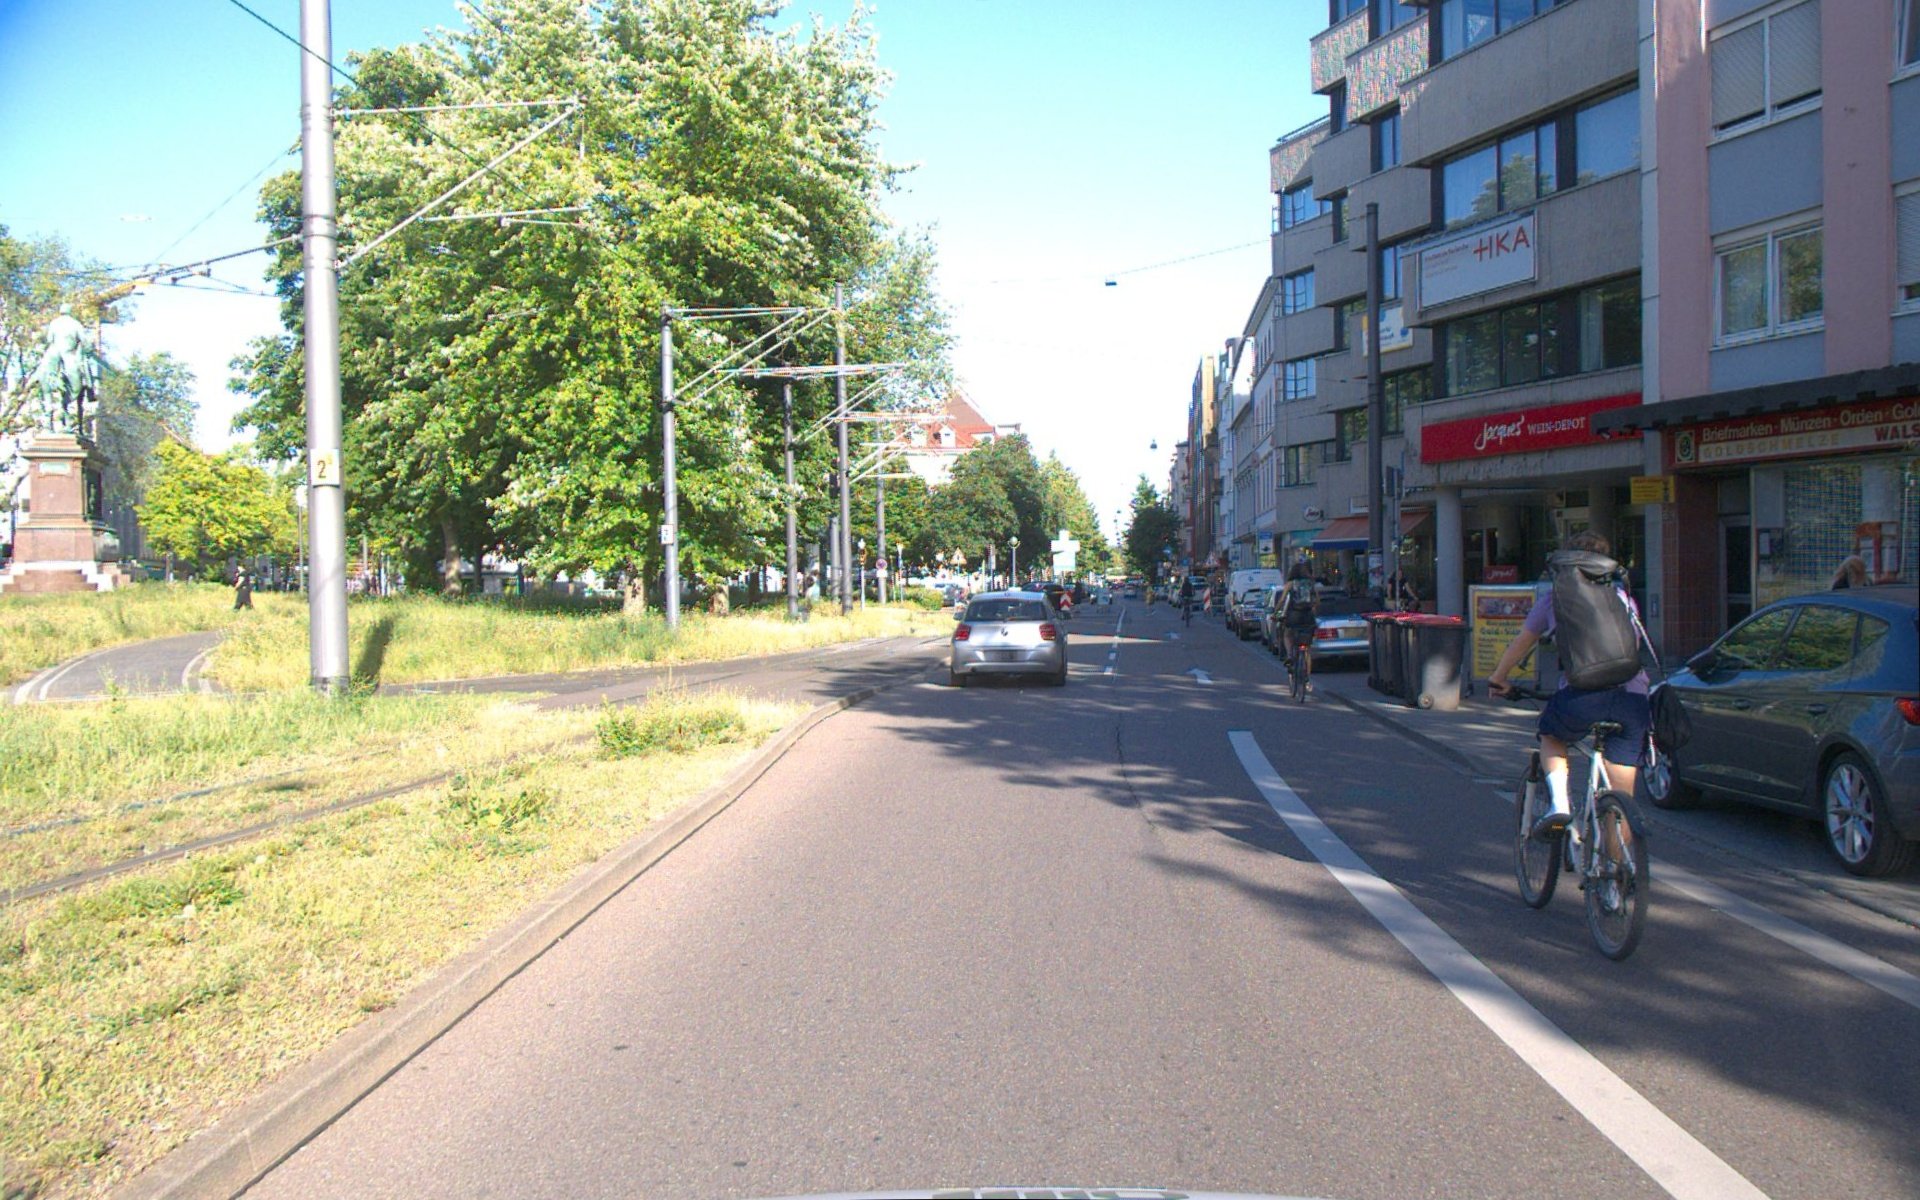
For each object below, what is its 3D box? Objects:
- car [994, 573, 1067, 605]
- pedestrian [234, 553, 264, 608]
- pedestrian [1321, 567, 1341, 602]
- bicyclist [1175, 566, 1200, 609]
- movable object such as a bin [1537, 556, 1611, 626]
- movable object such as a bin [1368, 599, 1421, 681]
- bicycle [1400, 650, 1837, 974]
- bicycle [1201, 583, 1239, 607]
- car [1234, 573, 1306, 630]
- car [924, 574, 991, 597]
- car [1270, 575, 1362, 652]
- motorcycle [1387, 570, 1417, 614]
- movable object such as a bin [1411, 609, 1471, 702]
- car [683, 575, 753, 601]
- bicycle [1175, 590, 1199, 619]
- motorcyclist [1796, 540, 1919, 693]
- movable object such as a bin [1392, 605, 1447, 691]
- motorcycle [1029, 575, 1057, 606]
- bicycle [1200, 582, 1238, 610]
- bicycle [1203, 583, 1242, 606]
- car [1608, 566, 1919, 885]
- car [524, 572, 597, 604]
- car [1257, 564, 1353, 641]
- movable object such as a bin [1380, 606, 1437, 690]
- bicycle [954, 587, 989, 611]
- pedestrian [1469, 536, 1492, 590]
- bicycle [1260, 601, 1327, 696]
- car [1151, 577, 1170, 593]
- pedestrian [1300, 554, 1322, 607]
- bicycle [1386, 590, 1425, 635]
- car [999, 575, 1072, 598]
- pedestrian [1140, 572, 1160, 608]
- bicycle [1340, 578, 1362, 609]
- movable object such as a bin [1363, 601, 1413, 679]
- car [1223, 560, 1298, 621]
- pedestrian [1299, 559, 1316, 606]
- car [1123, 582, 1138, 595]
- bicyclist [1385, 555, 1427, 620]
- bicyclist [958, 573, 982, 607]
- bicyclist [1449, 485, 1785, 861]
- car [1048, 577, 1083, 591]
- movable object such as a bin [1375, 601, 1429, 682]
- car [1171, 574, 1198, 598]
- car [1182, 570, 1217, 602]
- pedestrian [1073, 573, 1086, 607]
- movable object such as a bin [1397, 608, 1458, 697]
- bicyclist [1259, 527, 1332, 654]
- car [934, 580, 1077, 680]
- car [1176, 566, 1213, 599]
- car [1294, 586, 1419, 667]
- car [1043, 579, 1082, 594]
[{"bbox_3d":[3.905,-0.622,91.239,3.833,1.711,1.786,-1,0,-39],"label":"car"},{"bbox_3d":[-21.260,-0.574,49.450,0.546,1.644,0.670,0,-1,43],"label":"pedestrian"},{"bbox_3d":[13.504,-0.565,60.261,0.616,1.258,0.625,-3,-1,9],"label":"pedestrian"},{"bbox_3d":[7.867,-0.418,57.277,0.769,1.478,1.096,0,0,4],"label":"bicyclist"},{"bbox_3d":[12.735,-0.185,34.355,1.307,1.422,1.122,0,0,13],"label":"movable object such as a bin"},{"bbox_3d":[6.029,0.553,22.967,0.597,1.125,0.526,0,-1,2],"label":"movable object such as a bin"},{"bbox_3d":[2.792,0.831,7.357,0.868,1.156,2.226,1,0,-6],"label":"bicycle"},{"bbox_3d":[11.688,-0.236,74.306,1.645,1.081,0.343,0,-1,22],"label":"bicycle"},{"bbox_3d":[8.504,0.041,45.690,1.736,1.479,4.734,0,0,8],"label":"car"},{"bbox_3d":[-0.228,-1.181,136.966,5.188,1.831,2.150,1,0,-21],"label":"car"},{"bbox_3d":[7.559,0.277,35.416,1.635,1.545,4.202,0,0,8],"label":"car"},{"bbox_3d":[12.588,-0.222,47.047,0.748,1.175,2.049,-3,-1,15],"label":"motorcycle"},{"bbox_3d":[5.775,0.660,19.878,0.561,1.101,0.570,0,-1,2],"label":"movable object such as a bin"},{"bbox_3d":[-19.784,-1.002,135.220,5.495,2.049,1.806,1,0,-21],"label":"car"},{"bbox_3d":[7.844,0.175,57.243,0.639,0.975,2.699,0,0,4],"label":"bicycle"},{"bbox_3d":[9.525,0.173,17.543,0.879,1.578,0.806,1,-1,-4],"label":"motorcyclist"},{"bbox_3d":[5.866,0.605,21.137,0.578,1.087,0.496,0,-1,2],"label":"movable object such as a bin"},{"bbox_3d":[3.833,-0.439,76.758,0.734,1.398,1.752,1,0,-17],"label":"motorcycle"},{"bbox_3d":[11.906,-0.201,76.126,1.589,1.265,0.658,0,-1,26],"label":"bicycle"},{"bbox_3d":[11.839,-0.240,74.659,1.669,1.022,0.428,0,-1,22],"label":"bicycle"},{"bbox_3d":[5.527,0.554,9.886,1.728,1.463,4.586,-2,1,4],"label":"car"},{"bbox_3d":[-30.479,-0.878,126.174,5.252,2.354,1.990,1,0,-18],"label":"car"},{"bbox_3d":[8.152,0.064,39.382,1.812,1.718,3.869,0,0,5],"label":"car"},{"bbox_3d":[5.885,0.623,21.725,0.593,1.087,0.613,0,-1,2],"label":"movable object such as a bin"},{"bbox_3d":[0.522,-0.059,77.157,0.798,1.087,2.567,1,0,-21],"label":"bicycle"},{"bbox_3d":[17.831,-1.258,56.677,0.689,1.847,0.717,0,-1,21],"label":"pedestrian"},{"bbox_3d":[4.513,0.630,22.291,0.802,1.206,1.966,0,0,14],"label":"bicycle"},{"bbox_3d":[21.559,-1.647,177.523,1.951,1.646,4.013,1,0,8],"label":"car"},{"bbox_3d":[12.806,-0.713,60.300,0.656,1.888,0.611,-3,-1,9],"label":"pedestrian"},{"bbox_3d":[9.419,0.265,35.010,0.523,0.907,2.072,0,0,7],"label":"bicycle"},{"bbox_3d":[5.199,-0.908,114.323,4.759,1.514,1.756,1,0,-18],"label":"car"},{"bbox_3d":[9.313,-0.475,80.900,0.659,1.729,0.798,1,-1,-26],"label":"pedestrian"},{"bbox_3d":[13.756,-0.226,58.235,0.551,1.052,1.645,0,0,6],"label":"bicycle"},{"bbox_3d":[6.088,0.564,23.559,0.580,1.102,0.605,0,-1,3],"label":"movable object such as a bin"},{"bbox_3d":[9.399,-0.283,52.074,1.951,1.844,4.312,0,0,5],"label":"car"},{"bbox_3d":[12.849,-0.637,61.123,0.571,1.744,0.698,0,-1,9],"label":"pedestrian"},{"bbox_3d":[21.558,-1.486,208.690,1.830,1.583,4.003,0,0,6],"label":"car"},{"bbox_3d":[9.438,-0.252,35.031,0.742,1.349,0.995,0,0,7],"label":"bicyclist"},{"bbox_3d":[0.461,-0.467,77.343,0.915,1.534,0.820,1,-1,-21],"label":"bicyclist"},{"bbox_3d":[2.816,0.297,7.194,1.018,1.510,0.987,1,0,-7],"label":"bicyclist"},{"bbox_3d":[11.950,-1.787,187.047,3.902,1.534,1.896,0,0,7],"label":"car"},{"bbox_3d":[5.979,0.555,22.402,0.592,1.087,0.545,0,-1,2],"label":"movable object such as a bin"},{"bbox_3d":[15.643,-0.936,115.309,1.682,1.541,3.585,-3,-1,5],"label":"car"},{"bbox_3d":[13.784,-0.768,95.340,1.708,1.769,4.963,0,0,6],"label":"car"},{"bbox_3d":[6.046,-0.485,83.835,0.622,1.701,0.693,0,-1,6],"label":"pedestrian"},{"bbox_3d":[5.812,0.643,20.570,0.606,1.087,0.610,0,-1,2],"label":"movable object such as a bin"},{"bbox_3d":[4.529,-0.127,22.306,0.919,1.662,0.936,0,-1,14],"label":"bicyclist"},{"bbox_3d":[0.802,0.448,26.293,1.951,1.448,4.199,0,0,6],"label":"car"},{"bbox_3d":[14.966,-1.135,105.707,1.951,2.039,5.120,-1,1,4],"label":"car"},{"bbox_3d":[7.215,0.459,30.461,1.812,1.367,4.603,0,0,8],"label":"car"},{"bbox_3d":[10.601,-1.364,171.280,3.902,1.534,2.001,0,0,7],"label":"car"}]
